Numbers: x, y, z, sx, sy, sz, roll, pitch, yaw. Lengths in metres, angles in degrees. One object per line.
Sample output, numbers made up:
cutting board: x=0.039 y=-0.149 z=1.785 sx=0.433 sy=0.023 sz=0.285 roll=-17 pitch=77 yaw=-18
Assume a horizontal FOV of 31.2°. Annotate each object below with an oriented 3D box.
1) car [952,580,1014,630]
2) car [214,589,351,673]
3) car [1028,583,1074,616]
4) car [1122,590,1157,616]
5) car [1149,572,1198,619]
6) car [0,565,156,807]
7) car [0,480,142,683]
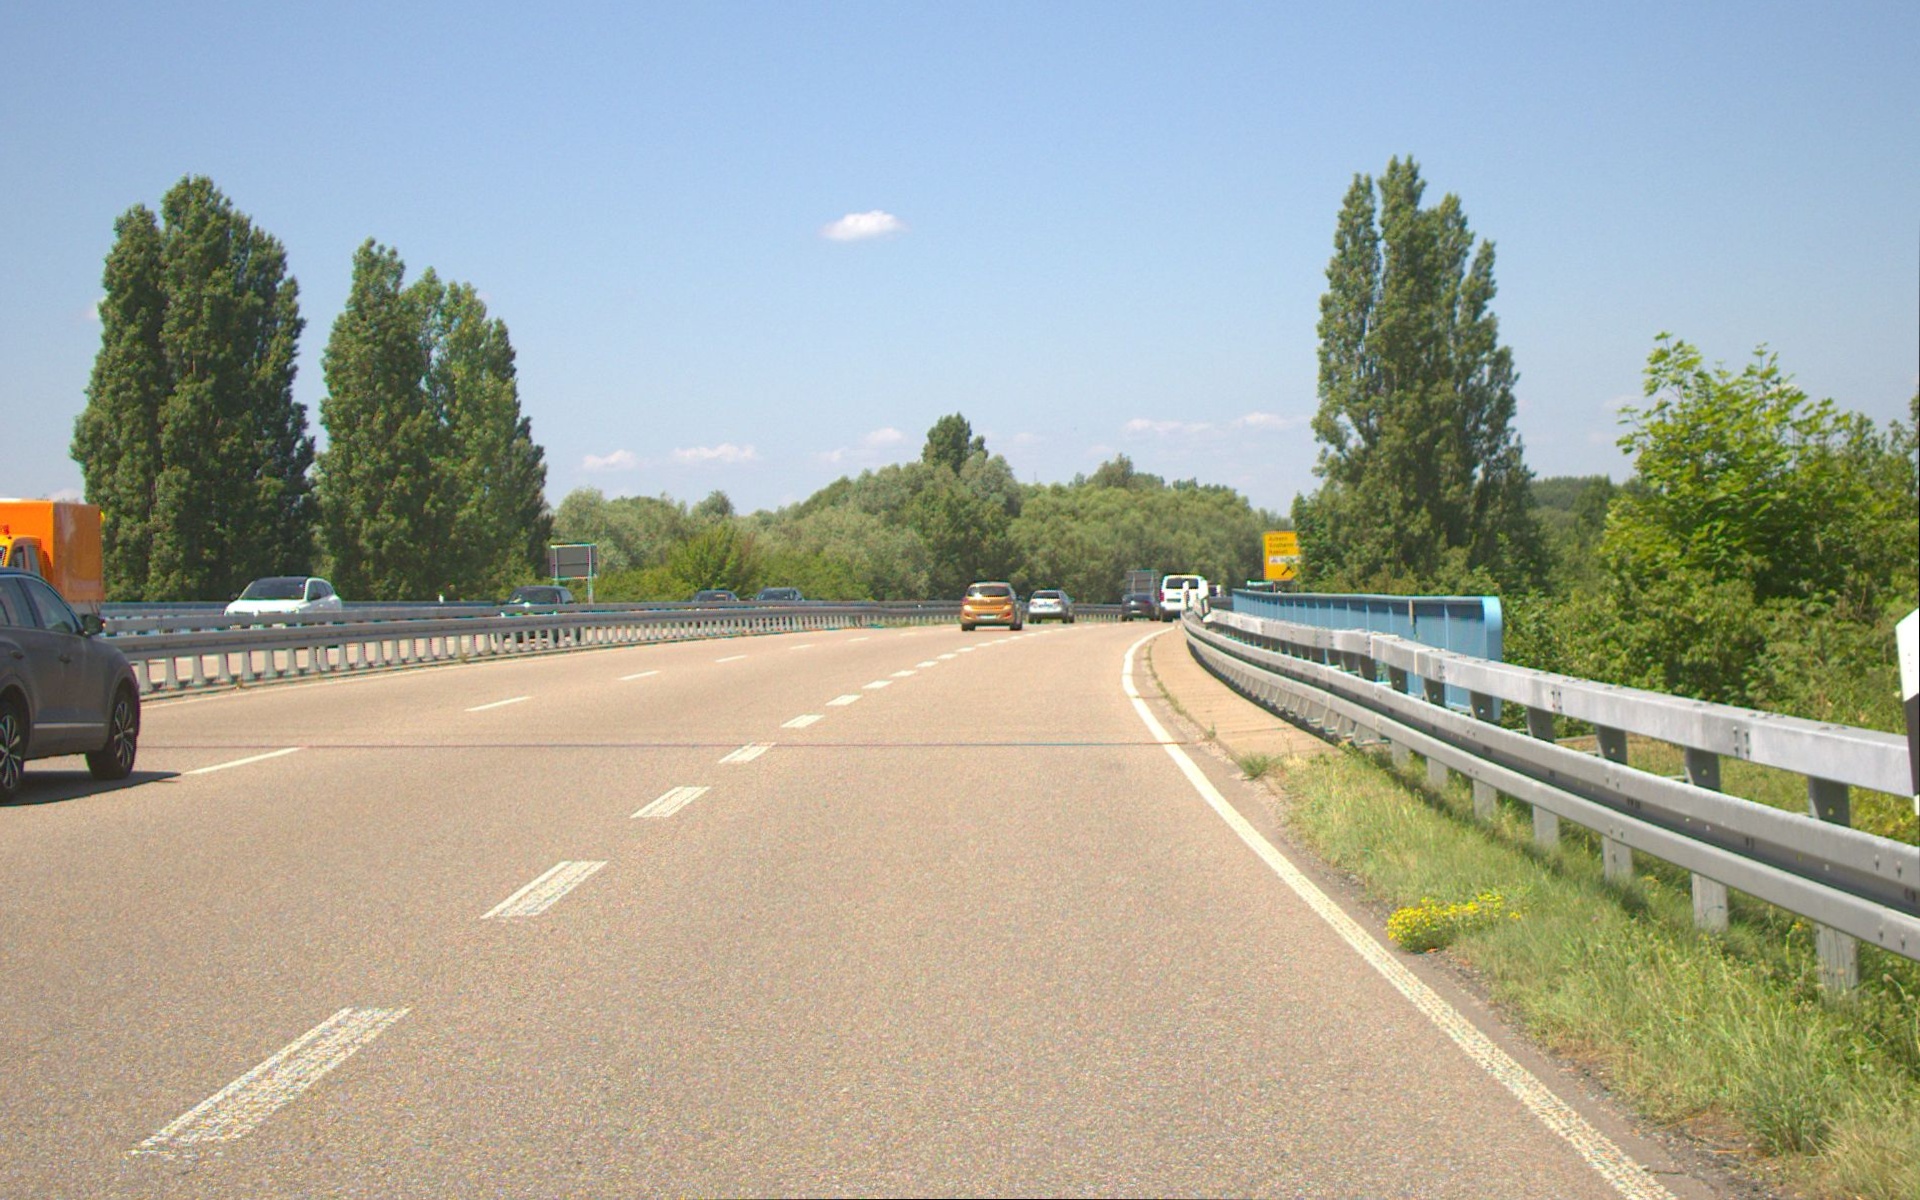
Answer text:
car: x=0.692 y=0.147 z=105.196 sx=1.841 sy=1.459 sz=4.000 roll=0 pitch=1 yaw=0
car: x=-15.375 y=0.714 z=78.231 sx=1.853 sy=1.812 sz=4.794 roll=-1 pitch=-1 yaw=4
car: x=4.204 y=-0.046 z=158.143 sx=1.841 sy=1.446 sz=3.999 roll=0 pitch=1 yaw=6
car: x=10.495 y=0.146 z=200.893 sx=1.944 sy=1.459 sz=3.999 roll=0 pitch=1 yaw=5
car: x=8.913 y=-0.204 z=143.586 sx=1.841 sy=1.889 sz=3.999 roll=0 pitch=1 yaw=6
car: x=-6.973 y=0.526 z=23.439 sx=1.841 sy=1.524 sz=4.470 roll=0 pitch=1 yaw=1
car: x=-16.357 y=-0.300 z=59.046 sx=2.306 sy=3.280 sz=7.027 roll=-1 pitch=0 yaw=5
